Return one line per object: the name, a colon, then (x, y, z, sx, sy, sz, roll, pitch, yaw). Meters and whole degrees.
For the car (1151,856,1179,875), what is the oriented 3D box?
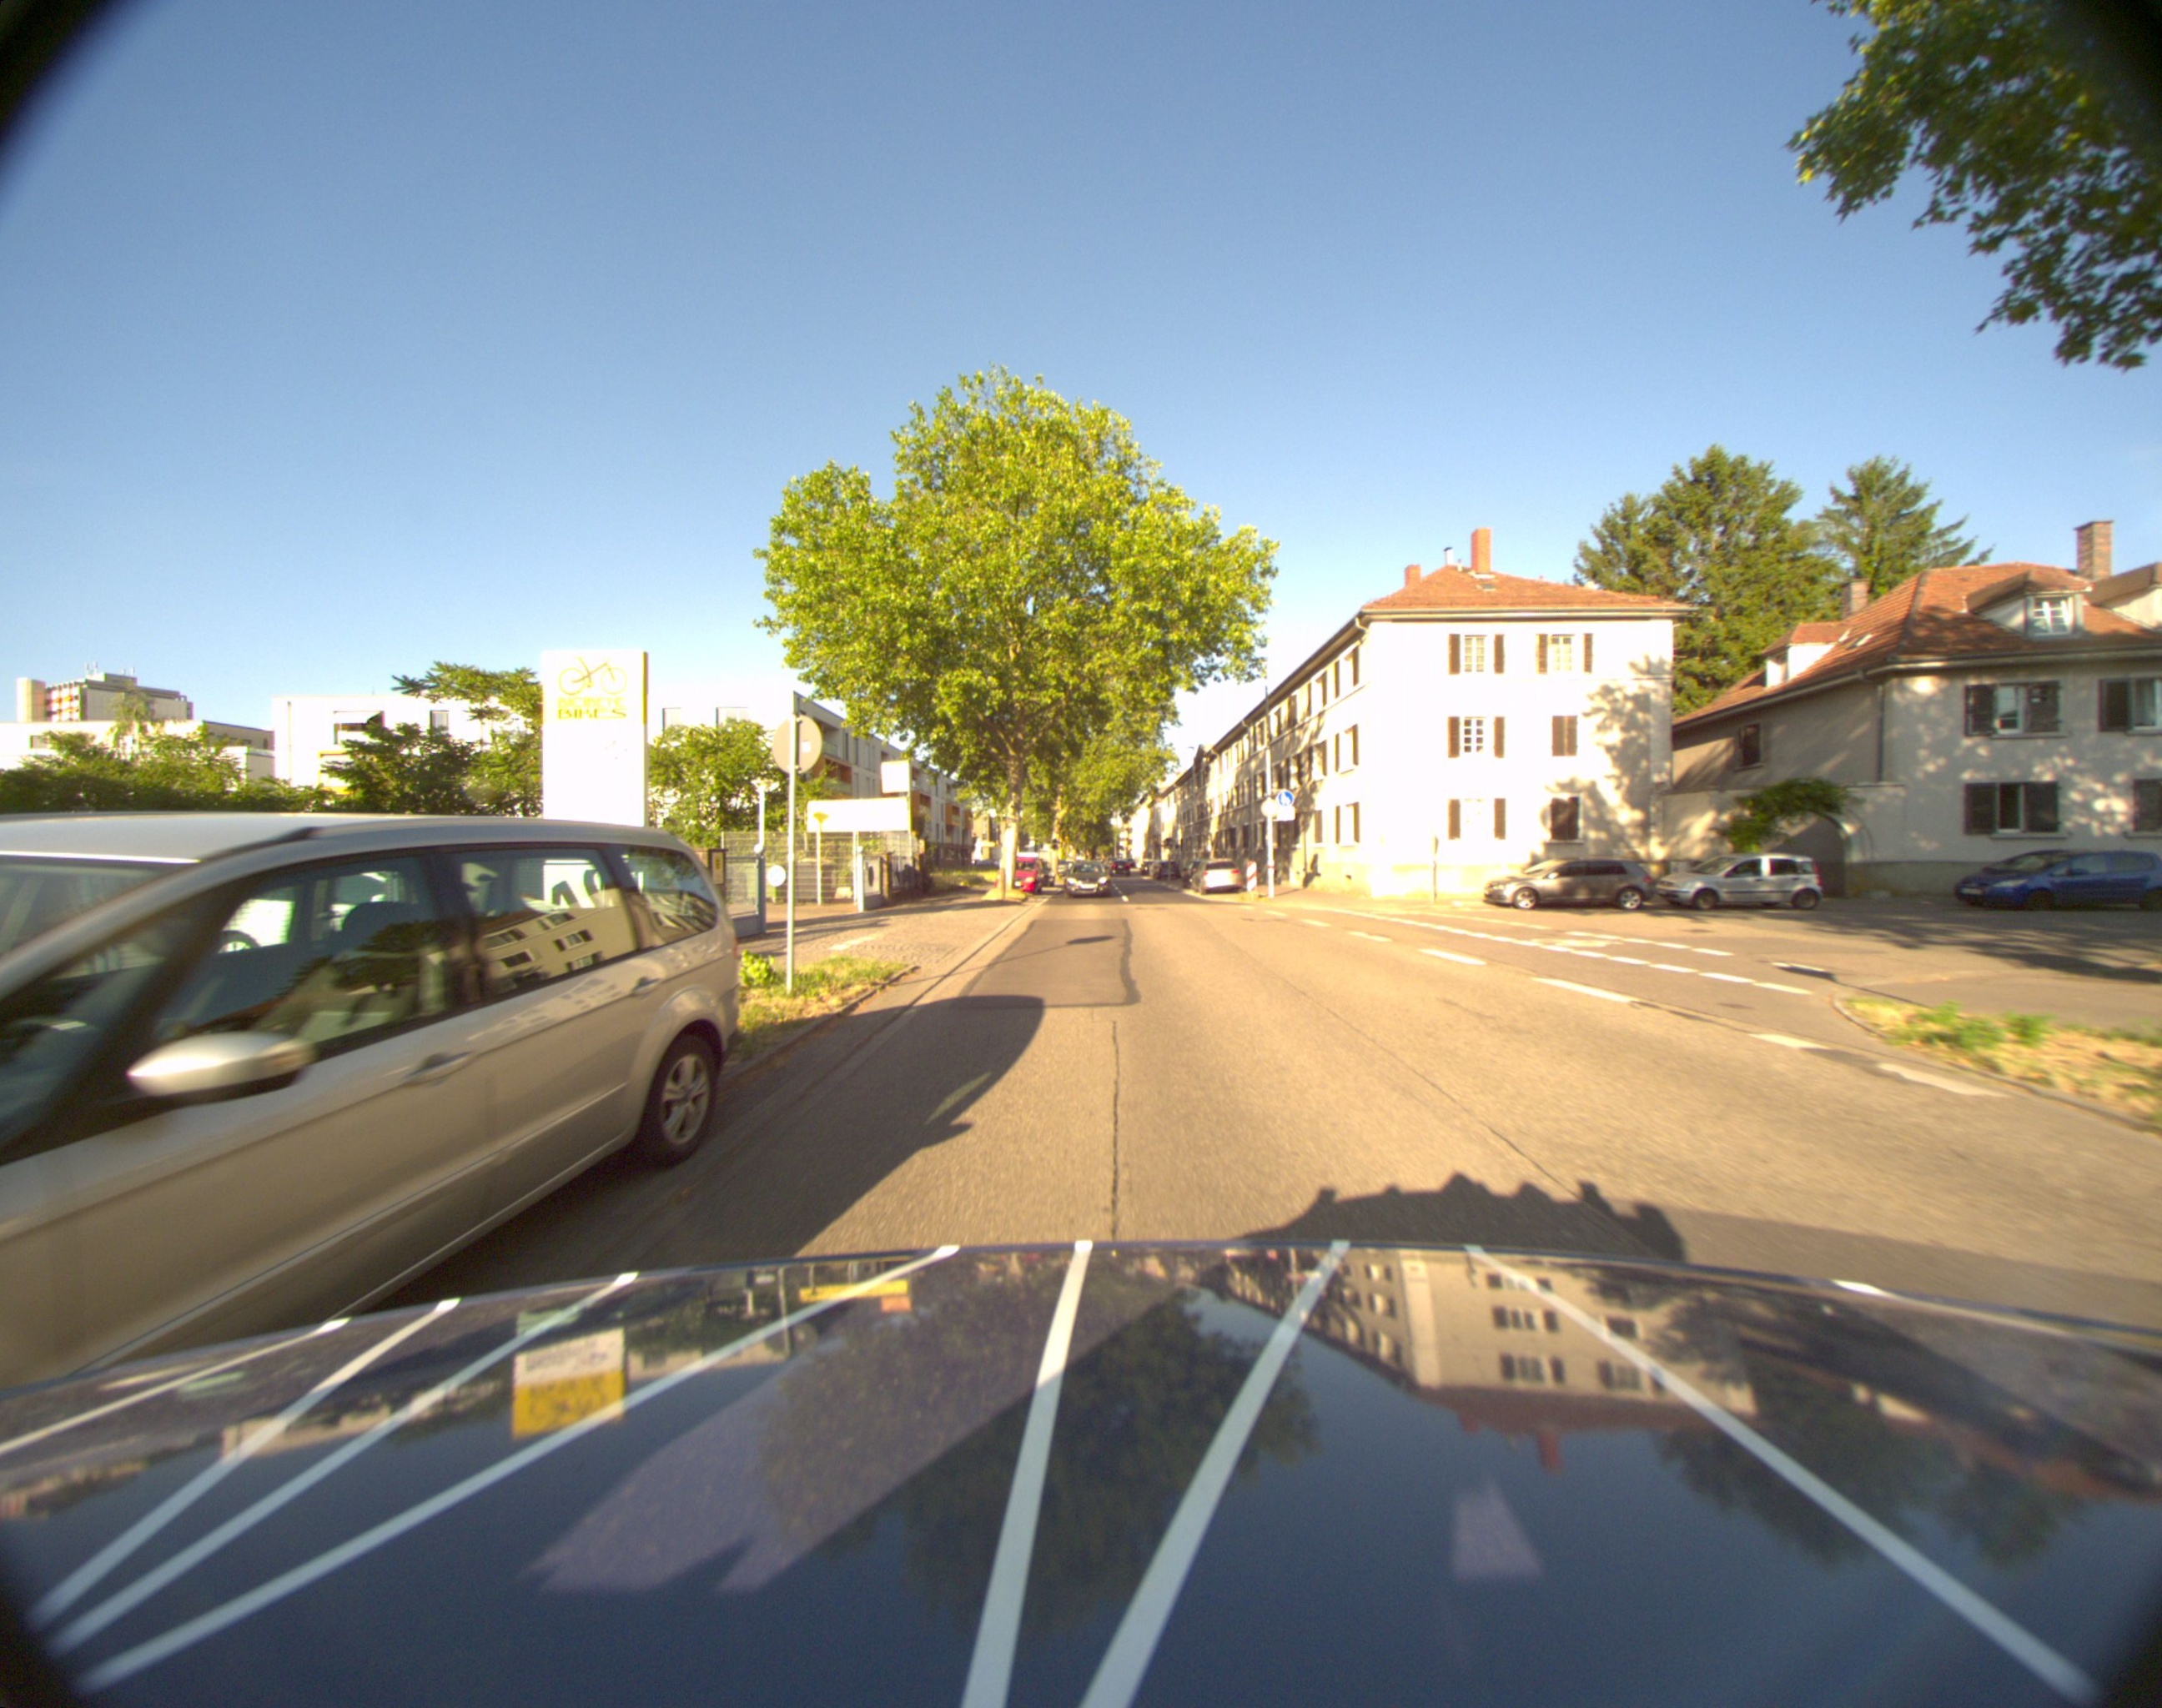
car: (7.017, 0.909, 63.879, 1.870, 1.475, 4.086, -2, 0, 0)

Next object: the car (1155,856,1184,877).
car: (6.726, 0.900, 57.893, 1.869, 1.475, 4.087, -3, 0, 3)

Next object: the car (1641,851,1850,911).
car: (18.414, 0.735, 21.279, 3.993, 1.552, 1.866, -1, 1, 13)

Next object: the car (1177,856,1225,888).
car: (6.092, 0.870, 38.875, 1.711, 1.498, 4.053, -2, 0, -1)

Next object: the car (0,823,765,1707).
car: (-3.051, 0.822, 2.387, 1.998, 1.749, 4.917, -1, 0, 1)

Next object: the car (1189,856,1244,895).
car: (5.811, 0.882, 32.970, 1.765, 1.475, 4.109, -2, 0, 3)

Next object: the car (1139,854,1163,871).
car: (6.791, 0.831, 73.815, 1.870, 1.603, 4.086, -2, 0, -1)

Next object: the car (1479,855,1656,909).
car: (14.146, 0.787, 22.354, 3.993, 1.410, 1.915, -1, 3, 13)

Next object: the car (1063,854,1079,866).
car: (-1.241, 0.782, 97.364, 1.885, 1.475, 4.000, -1, 0, 1)

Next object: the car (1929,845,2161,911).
car: (25.478, 0.604, 19.882, 3.993, 1.553, 1.865, -1, 3, 13)

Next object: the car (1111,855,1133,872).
car: (3.900, 0.918, 72.643, 1.901, 1.581, 4.069, 0, 0, 0)

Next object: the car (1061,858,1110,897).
car: (0.156, 0.910, 31.414, 1.870, 1.471, 4.086, -1, 0, -1)

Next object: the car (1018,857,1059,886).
car: (-2.372, 0.953, 43.448, 1.704, 1.472, 4.698, 2, 0, 4)

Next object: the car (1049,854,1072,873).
car: (-1.850, 0.830, 69.105, 1.869, 1.603, 4.087, 1, 0, 2)

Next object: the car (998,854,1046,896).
car: (-2.493, 0.856, 32.928, 1.602, 1.680, 4.337, 0, 0, 2)
